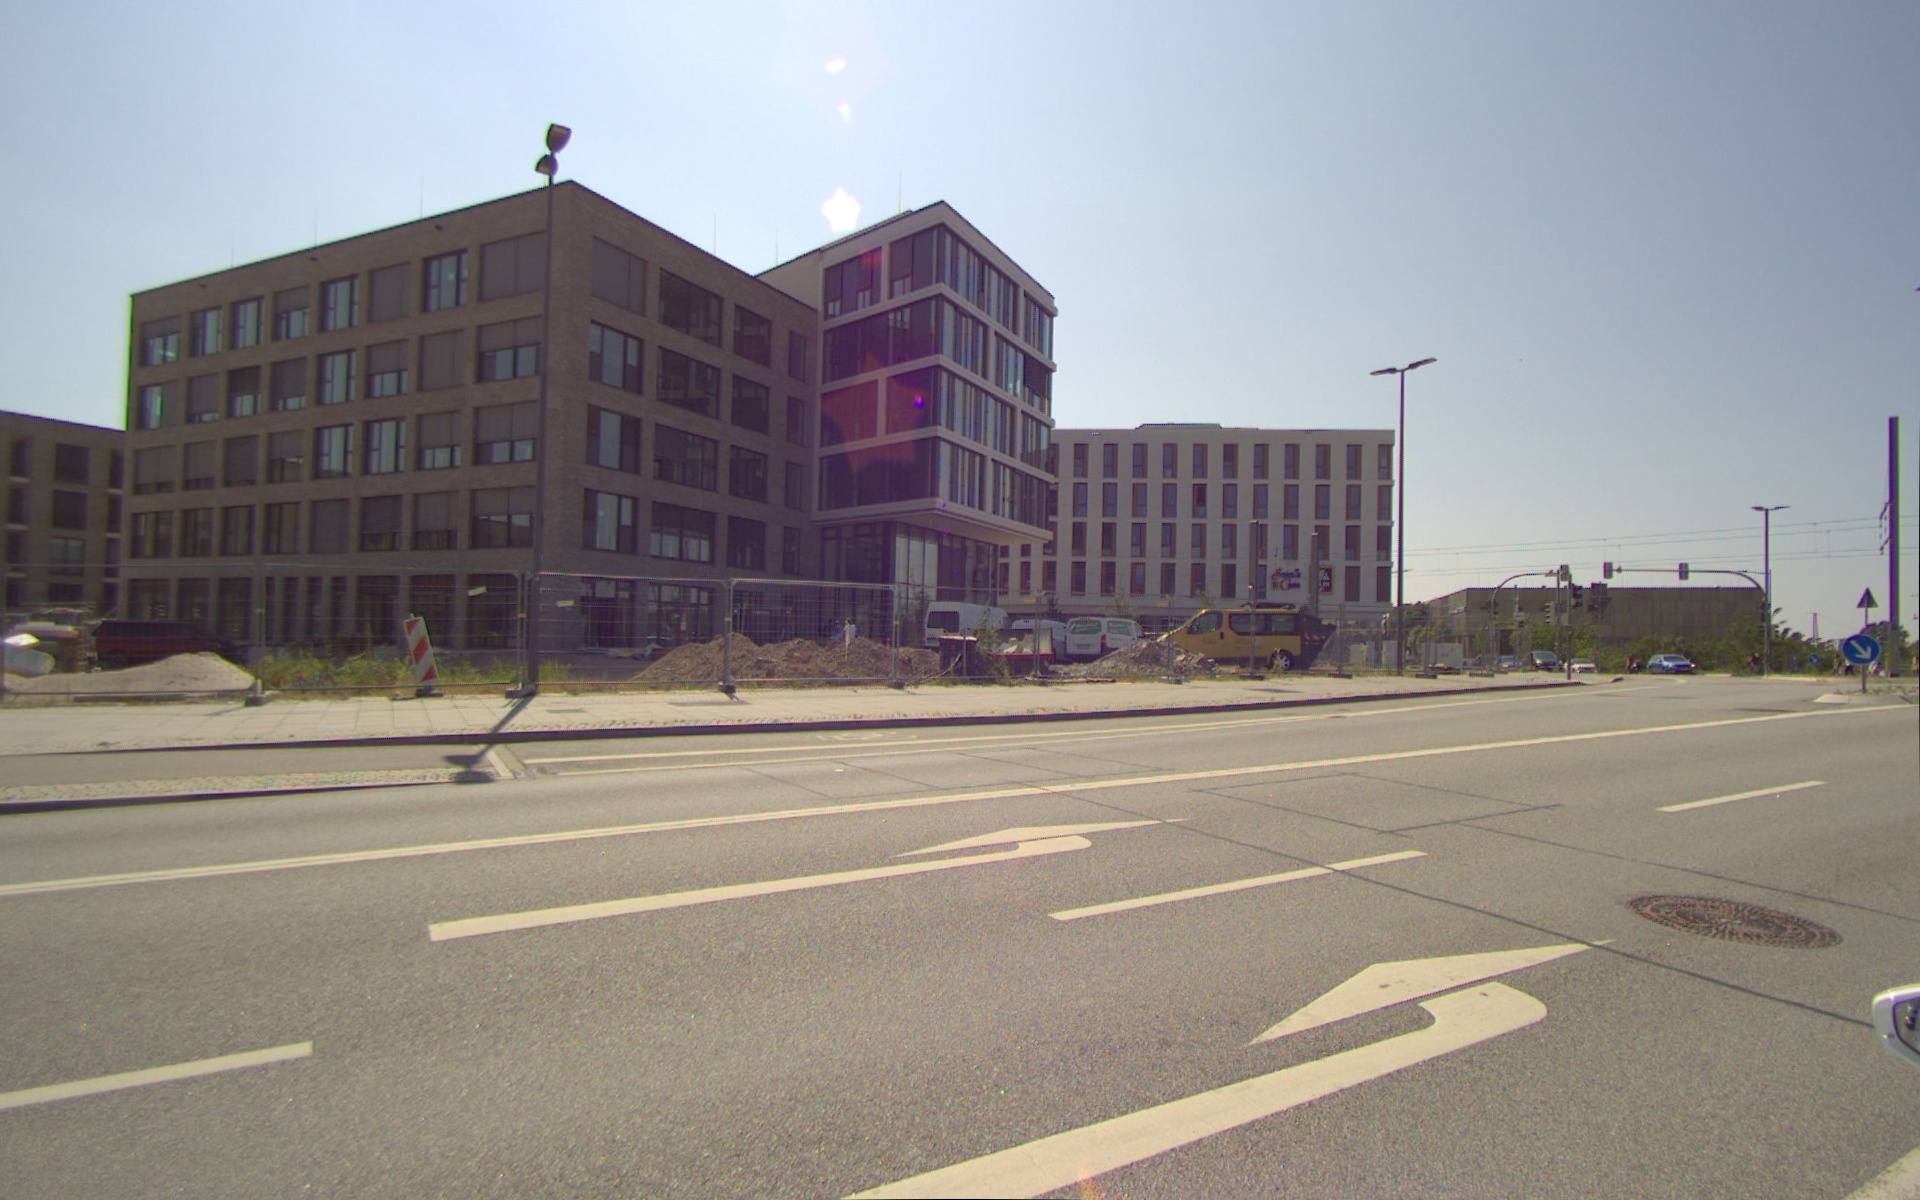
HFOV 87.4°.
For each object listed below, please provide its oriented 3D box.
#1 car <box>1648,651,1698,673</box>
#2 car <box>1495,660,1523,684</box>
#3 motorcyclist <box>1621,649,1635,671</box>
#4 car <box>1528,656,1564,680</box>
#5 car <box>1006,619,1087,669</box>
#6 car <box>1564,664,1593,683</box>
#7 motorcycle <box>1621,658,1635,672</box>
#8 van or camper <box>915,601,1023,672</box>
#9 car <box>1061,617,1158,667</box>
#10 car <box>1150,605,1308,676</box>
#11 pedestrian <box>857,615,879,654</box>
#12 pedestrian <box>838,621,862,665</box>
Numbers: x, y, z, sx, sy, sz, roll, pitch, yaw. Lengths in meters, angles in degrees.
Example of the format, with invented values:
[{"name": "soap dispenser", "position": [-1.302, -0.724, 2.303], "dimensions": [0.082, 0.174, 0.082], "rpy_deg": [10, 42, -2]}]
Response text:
[{"name": "car", "position": [48.785, 4.226, 68.801], "dimensions": [1.787, 1.348, 4.000], "rpy_deg": [1, -2, 21]}, {"name": "car", "position": [42.916, 5.608, 78.542], "dimensions": [1.541, 1.608, 3.477], "rpy_deg": [1, 0, 24]}, {"name": "motorcyclist", "position": [49.492, 4.440, 74.440], "dimensions": [0.739, 1.514, 0.677], "rpy_deg": [1, 0, 24]}, {"name": "car", "position": [40.992, 4.758, 70.318], "dimensions": [1.646, 1.496, 3.405], "rpy_deg": [0, -1, 22]}, {"name": "car", "position": [3.584, 1.755, 40.994], "dimensions": [1.759, 1.881, 3.842], "rpy_deg": [1, 0, 31]}, {"name": "car", "position": [53.507, 6.349, 86.895], "dimensions": [1.578, 1.357, 2.924], "rpy_deg": [1, 0, 21]}, {"name": "motorcycle", "position": [49.453, 4.806, 74.374], "dimensions": [0.511, 0.967, 1.933], "rpy_deg": [1, 0, 23]}, {"name": "van or camper", "position": [0.459, 1.494, 42.625], "dimensions": [2.273, 2.772, 4.975], "rpy_deg": [1, 0, 33]}, {"name": "car", "position": [5.963, 1.617, 39.662], "dimensions": [1.841, 1.797, 4.637], "rpy_deg": [1, 0, 36]}, {"name": "car", "position": [8.265, 1.215, 31.257], "dimensions": [4.533, 1.988, 1.991], "rpy_deg": [2, 0, 10]}, {"name": "pedestrian", "position": [-4.257, 1.580, 46.414], "dimensions": [0.734, 1.741, 0.699], "rpy_deg": [1, 0, 17]}, {"name": "pedestrian", "position": [-4.563, 1.770, 41.600], "dimensions": [0.734, 1.741, 0.699], "rpy_deg": [1, 0, 17]}]
